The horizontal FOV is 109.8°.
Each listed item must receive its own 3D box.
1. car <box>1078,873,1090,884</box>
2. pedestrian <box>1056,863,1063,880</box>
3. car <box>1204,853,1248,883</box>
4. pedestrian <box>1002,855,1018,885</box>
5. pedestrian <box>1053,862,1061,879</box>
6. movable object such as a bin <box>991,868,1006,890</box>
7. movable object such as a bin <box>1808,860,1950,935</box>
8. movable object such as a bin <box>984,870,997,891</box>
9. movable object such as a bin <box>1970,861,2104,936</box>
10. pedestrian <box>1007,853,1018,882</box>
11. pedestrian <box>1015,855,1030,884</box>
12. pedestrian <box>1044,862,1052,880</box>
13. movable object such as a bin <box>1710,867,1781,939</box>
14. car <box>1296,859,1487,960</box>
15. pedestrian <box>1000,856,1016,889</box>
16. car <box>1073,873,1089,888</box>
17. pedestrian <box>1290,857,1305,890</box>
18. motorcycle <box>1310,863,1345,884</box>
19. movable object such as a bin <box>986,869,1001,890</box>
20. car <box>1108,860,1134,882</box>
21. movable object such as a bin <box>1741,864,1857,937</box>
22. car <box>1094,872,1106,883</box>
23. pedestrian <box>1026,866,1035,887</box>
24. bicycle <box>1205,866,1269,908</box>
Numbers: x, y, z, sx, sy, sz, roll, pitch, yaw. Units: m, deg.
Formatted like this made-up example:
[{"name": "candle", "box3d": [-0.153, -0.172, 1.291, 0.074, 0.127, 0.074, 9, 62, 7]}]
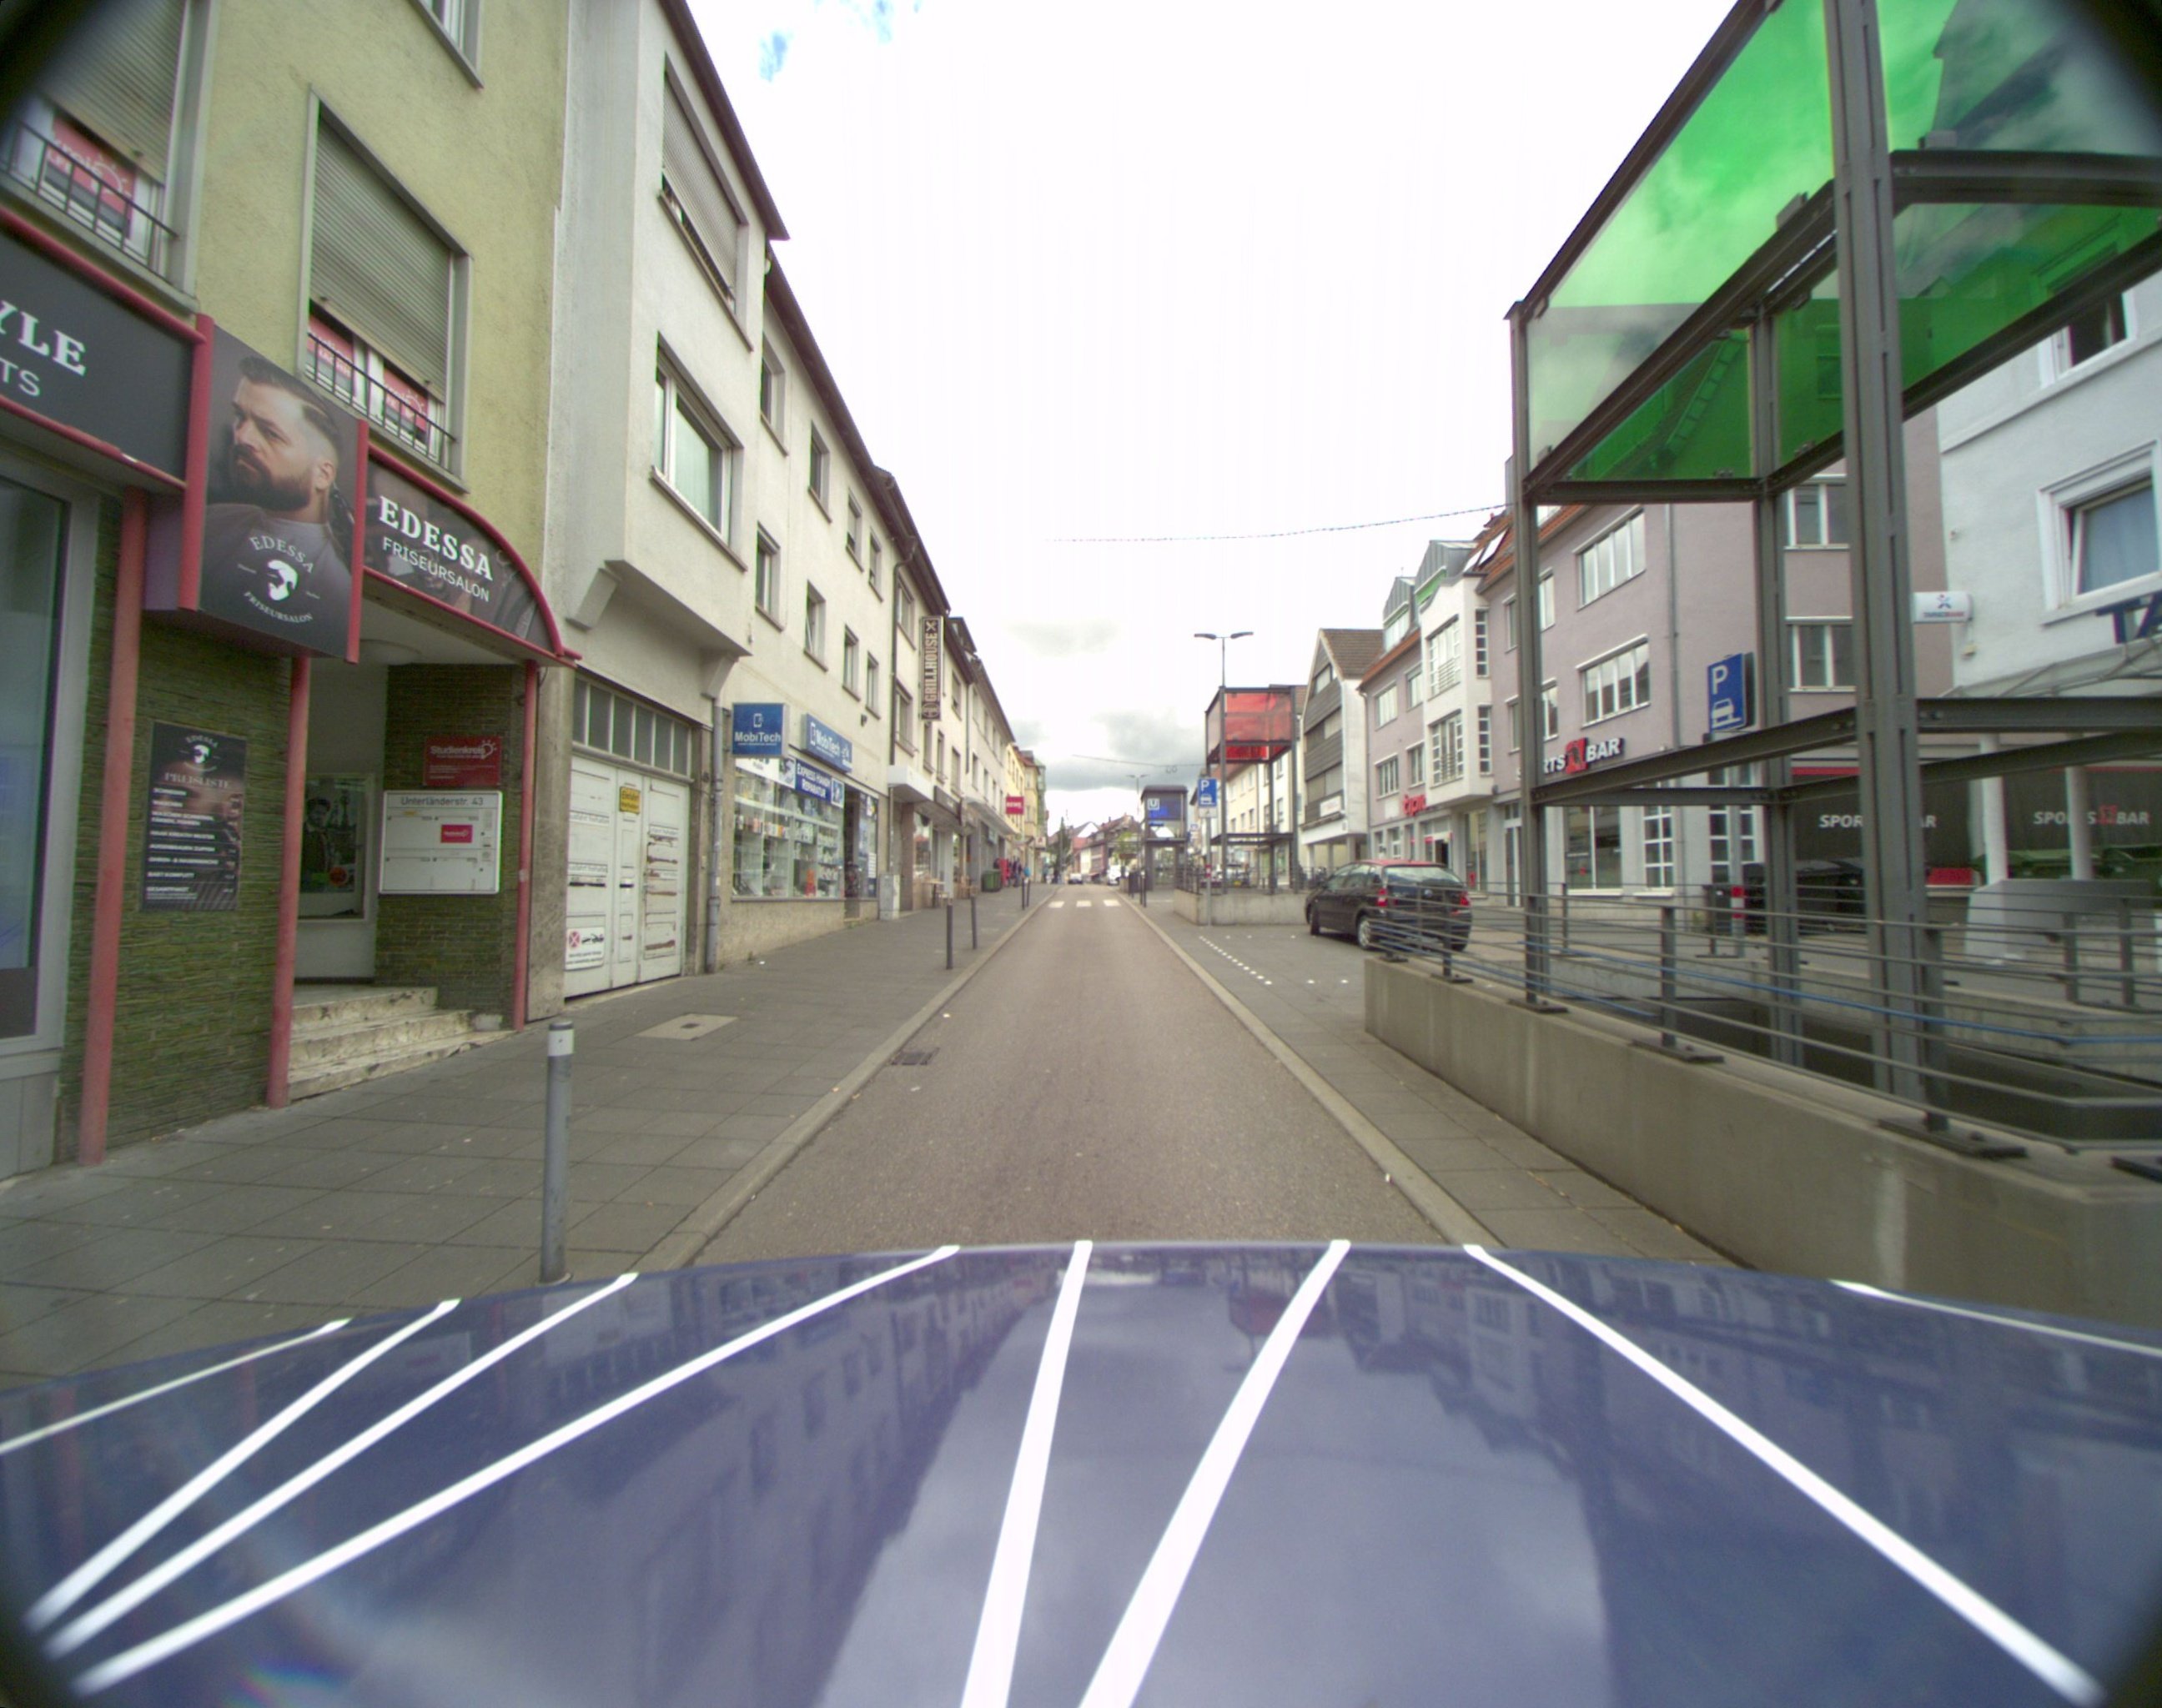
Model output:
[{"name": "car", "box3d": [0.407, 3.935, 122.071, 1.741, 1.608, 3.999, -2, 0, -2]}, {"name": "pedestrian", "box3d": [-2.089, 1.709, 73.390, 0.657, 1.620, 0.743, -2, 1, -2]}, {"name": "car", "box3d": [8.136, 0.759, 42.956, 1.684, 1.562, 4.122, -2, 0, 0]}, {"name": "pedestrian", "box3d": [-4.073, 0.916, 43.467, 0.741, 1.660, 0.627, 2, 0, -15]}, {"name": "pedestrian", "box3d": [-2.265, 1.540, 71.490, 0.657, 1.620, 0.743, -2, 1, -6]}, {"name": "movable object such as a bin", "box3d": [-4.007, 1.212, 37.095, 0.652, 1.074, 0.673, 0, 0, 0]}, {"name": "movable object such as a bin", "box3d": [15.475, 0.815, 14.799, 1.286, 1.368, 1.407, -1, 0, 0]}, {"name": "movable object such as a bin", "box3d": [-4.253, 1.236, 35.806, 0.568, 0.951, 0.498, 0, 0, 0]}, {"name": "movable object such as a bin", "box3d": [18.440, 0.829, 14.695, 1.286, 1.368, 1.044, -1, 0, 0]}, {"name": "pedestrian", "box3d": [-4.044, 0.780, 44.963, 0.627, 1.716, 0.607, 2, 0, -5]}, {"name": "pedestrian", "box3d": [-3.374, 0.895, 43.971, 0.740, 1.660, 0.786, 2, 0, -12]}, {"name": "pedestrian", "box3d": [-3.080, 1.586, 71.464, 0.657, 1.620, 0.743, -2, 1, -6]}, {"name": "movable object such as a bin", "box3d": [13.130, 0.955, 15.037, 0.691, 1.368, 0.808, -1, 0, 0]}, {"name": "car", "box3d": [5.178, 0.837, 13.238, 1.573, 1.466, 3.854, 0, 0, -3]}, {"name": "pedestrian", "box3d": [-3.885, 0.952, 40.330, 0.628, 1.716, 0.606, -3, 1, -23]}, {"name": "car", "box3d": [-0.008, 3.053, 88.243, 1.741, 1.608, 3.843, -2, 0, 0]}, {"name": "pedestrian", "box3d": [11.463, 1.005, 40.166, 0.592, 1.706, 0.513, -2, 1, 0]}, {"name": "motorcycle", "box3d": [14.591, 1.150, 44.965, 1.854, 1.134, 0.634, -2, 1, 0]}, {"name": "movable object such as a bin", "box3d": [-4.198, 1.217, 36.418, 0.670, 1.024, 0.560, 0, 0, 0]}, {"name": "car", "box3d": [2.899, 1.230, 55.827, 1.754, 1.452, 3.601, -2, 0, 1]}, {"name": "movable object such as a bin", "box3d": [14.170, 0.891, 15.030, 1.286, 1.368, 1.067, -1, 0, 0]}, {"name": "car", "box3d": [3.032, 3.831, 122.481, 1.741, 1.608, 4.000, -2, 0, 0]}, {"name": "pedestrian", "box3d": [-3.866, 1.728, 58.453, 0.627, 1.620, 0.607, -2, 1, -5]}, {"name": "bicycle", "box3d": [4.604, 0.972, 22.496, 1.782, 1.216, 0.459, 0, 1, 0]}]
